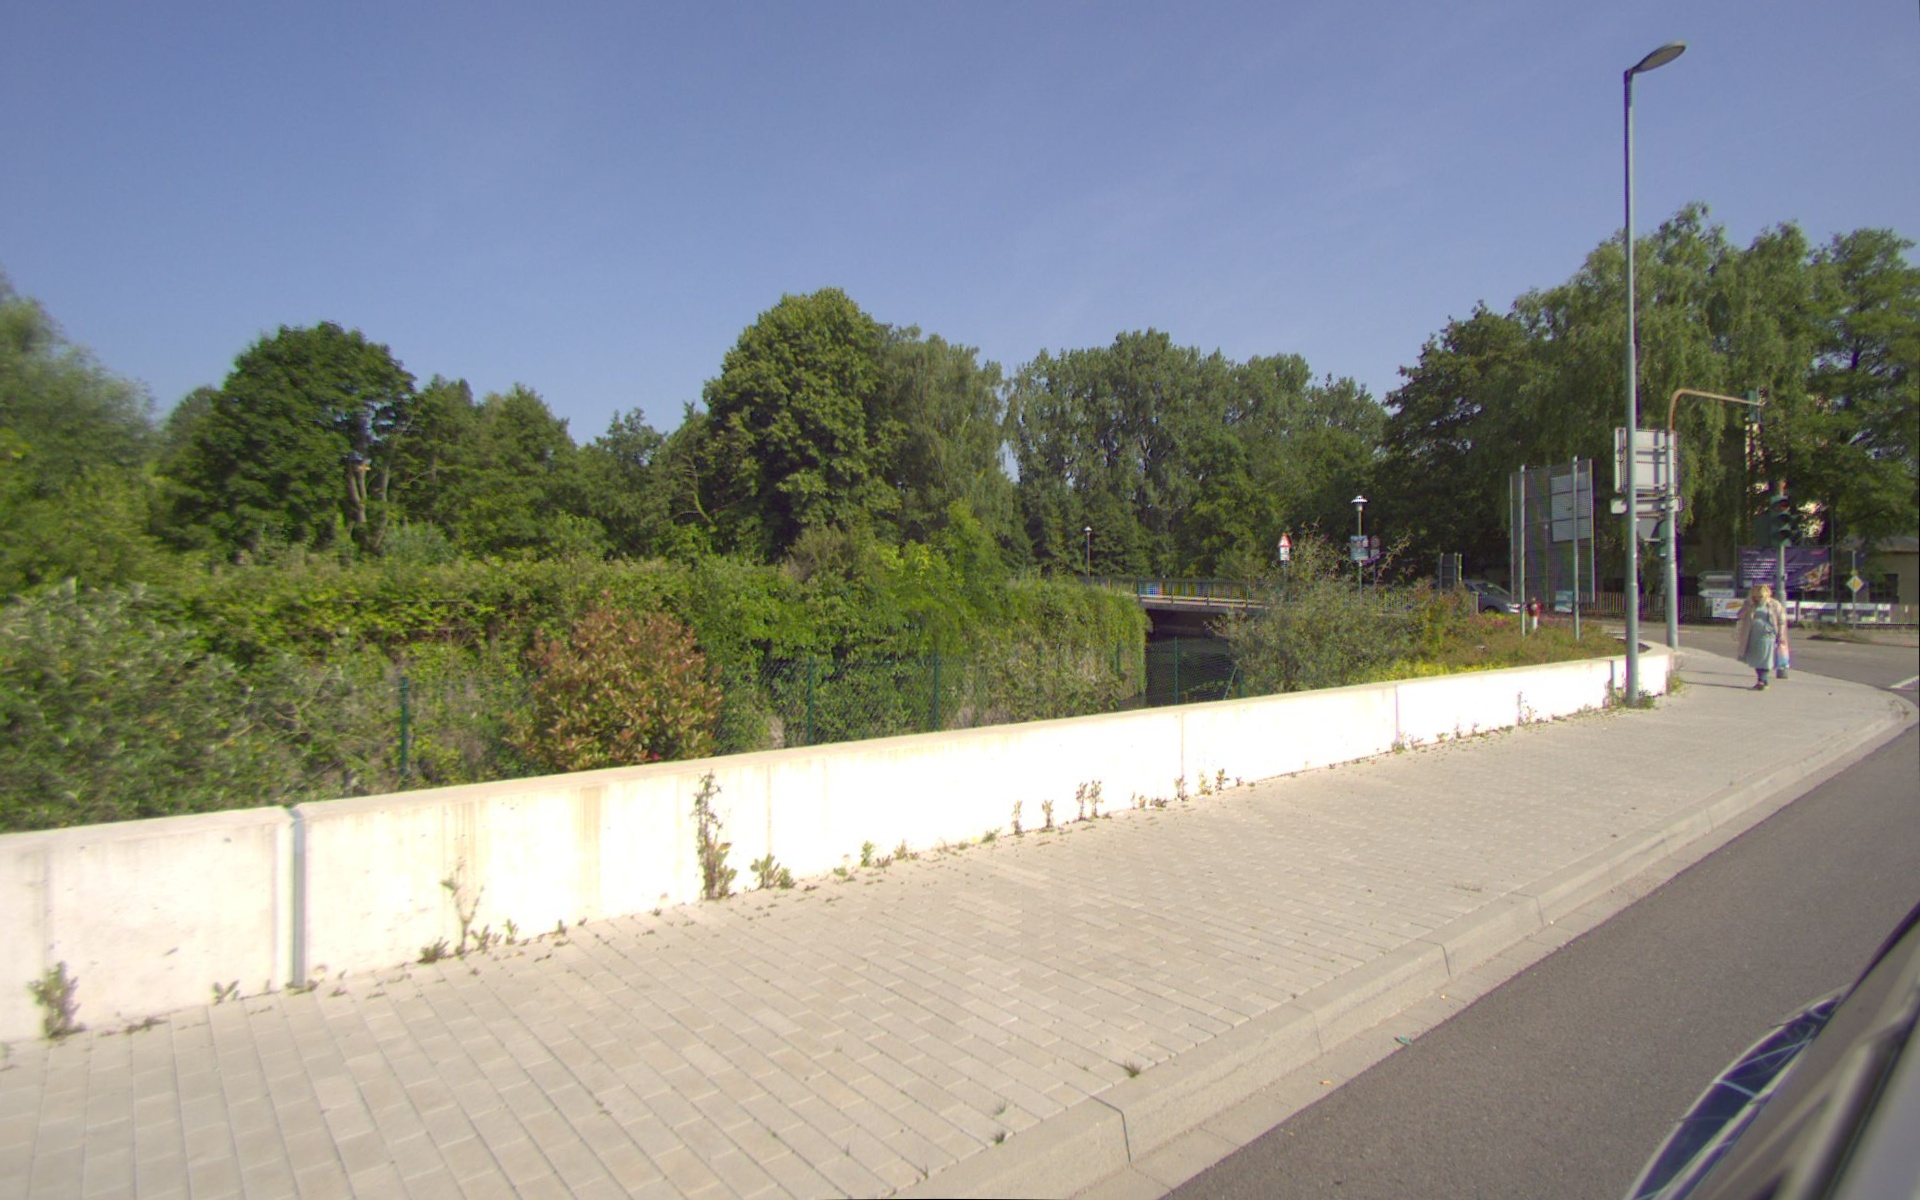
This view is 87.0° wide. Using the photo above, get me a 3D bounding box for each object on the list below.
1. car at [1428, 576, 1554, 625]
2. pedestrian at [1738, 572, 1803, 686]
[{"bbox_3d":[18.739,-0.016,35.929,1.632,1.536,4.094,1,2,-14],"label":"car"},{"bbox_3d":[12.371,0.419,15.446,0.583,1.692,0.711,0,0,-45],"label":"pedestrian"}]
